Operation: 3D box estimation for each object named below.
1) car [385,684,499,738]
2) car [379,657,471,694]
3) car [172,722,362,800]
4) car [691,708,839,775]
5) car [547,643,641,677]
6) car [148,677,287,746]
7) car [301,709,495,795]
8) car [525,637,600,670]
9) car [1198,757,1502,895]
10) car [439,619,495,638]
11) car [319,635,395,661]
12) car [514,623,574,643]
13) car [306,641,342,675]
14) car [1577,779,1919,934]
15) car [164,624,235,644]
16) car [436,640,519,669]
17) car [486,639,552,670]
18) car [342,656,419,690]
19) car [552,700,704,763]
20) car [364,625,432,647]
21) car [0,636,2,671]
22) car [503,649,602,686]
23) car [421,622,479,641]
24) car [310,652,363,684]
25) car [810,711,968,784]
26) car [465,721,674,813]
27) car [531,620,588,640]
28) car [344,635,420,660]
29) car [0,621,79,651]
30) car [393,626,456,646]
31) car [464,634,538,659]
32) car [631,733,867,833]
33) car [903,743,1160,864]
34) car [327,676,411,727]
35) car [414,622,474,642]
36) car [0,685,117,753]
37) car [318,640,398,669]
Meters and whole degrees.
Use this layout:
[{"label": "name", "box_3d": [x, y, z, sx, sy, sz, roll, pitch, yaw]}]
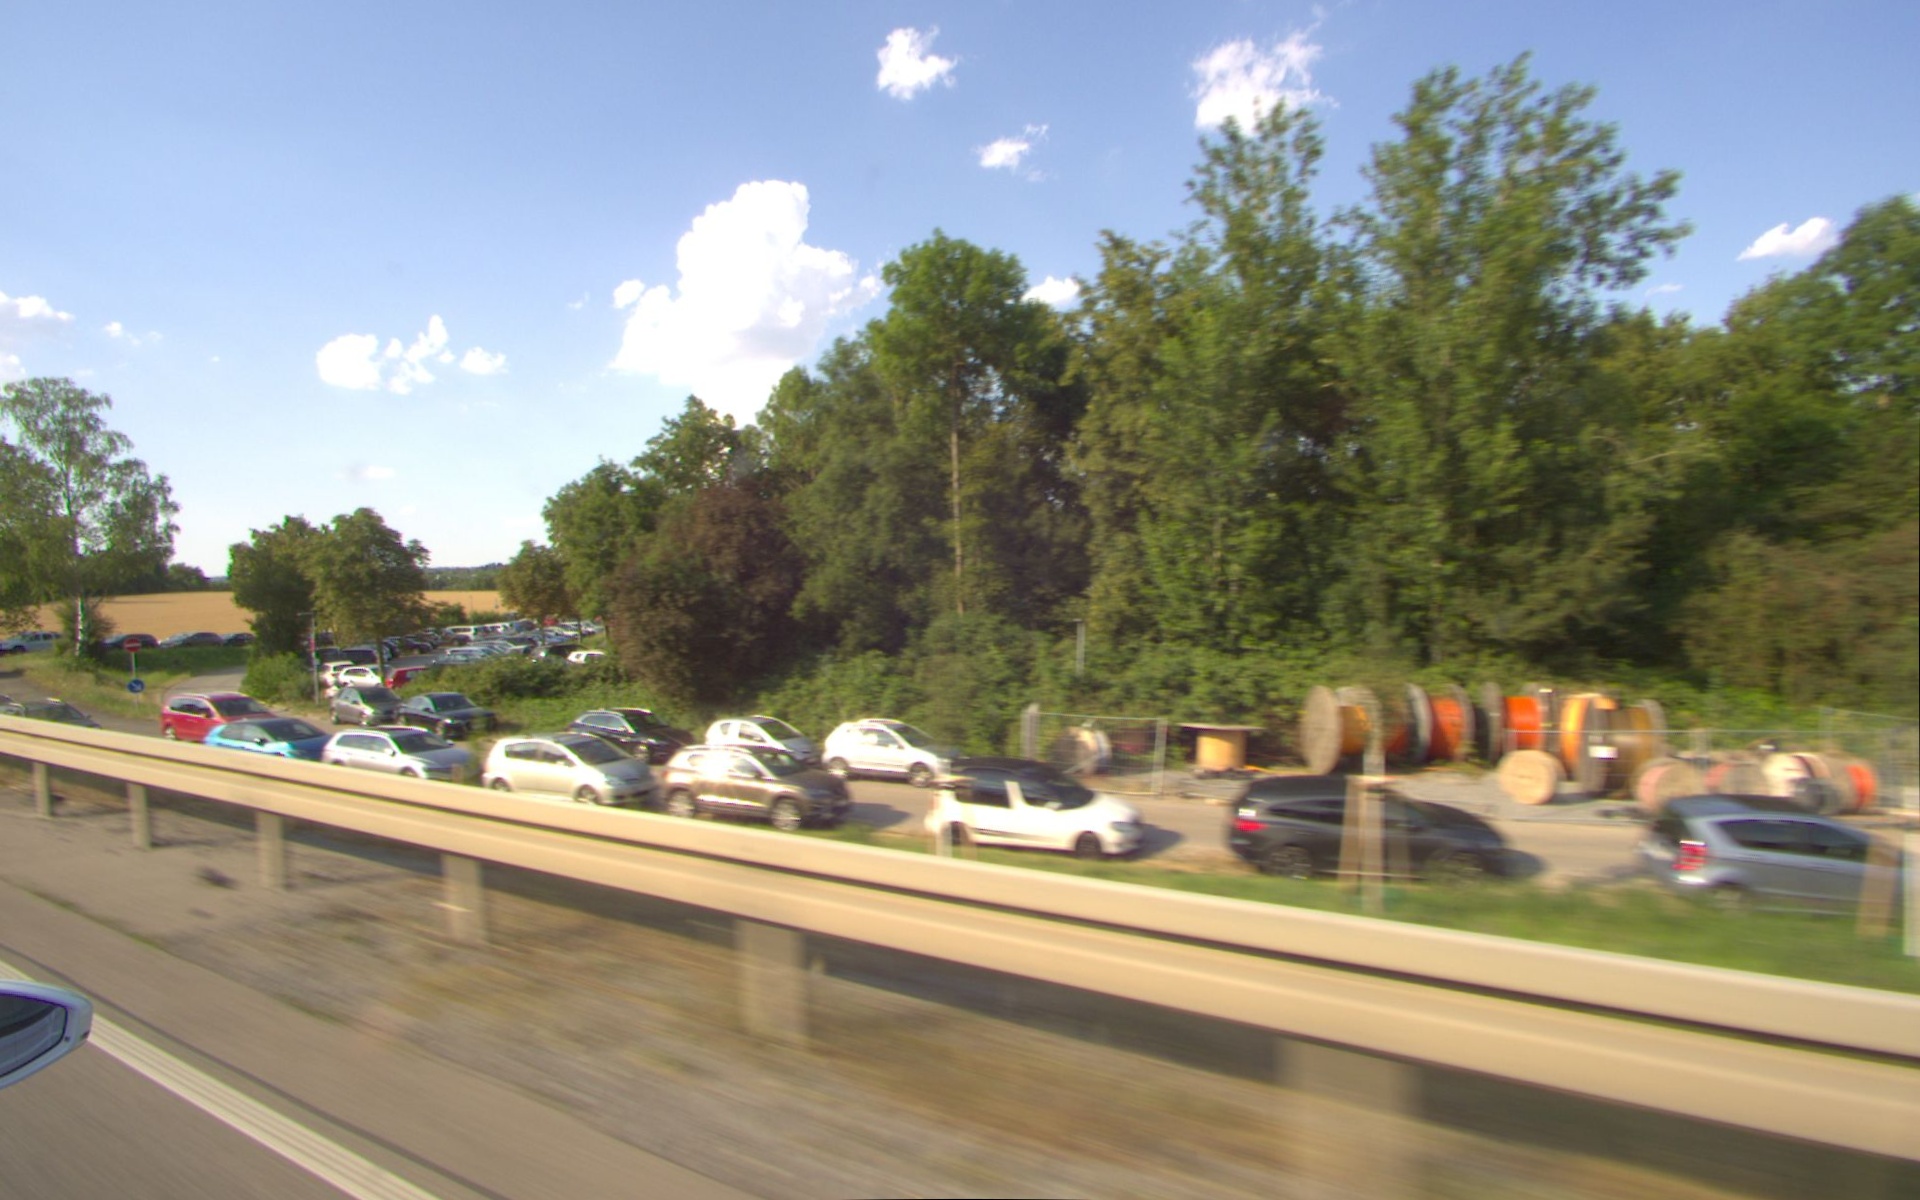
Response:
[{"label": "car", "box_3d": [-18.692, 3.954, 36.056, 4.723, 1.418, 1.694, 0, 3, 37]}, {"label": "car", "box_3d": [-26.696, 3.759, 49.997, 1.637, 1.563, 3.742, 0, 0, 44]}, {"label": "car", "box_3d": [-19.565, 4.493, 28.302, 4.696, 1.581, 1.893, 0, 4, 18]}, {"label": "car", "box_3d": [-5.552, 3.966, 28.484, 3.882, 1.418, 1.699, -1, 3, 27]}, {"label": "car", "box_3d": [-19.588, 3.197, 53.657, 4.512, 1.713, 1.801, 0, 0, 16]}, {"label": "car", "box_3d": [-25.463, 3.756, 34.314, 5.008, 1.711, 1.888, 1, 4, 30]}, {"label": "car", "box_3d": [-14.785, 3.923, 26.347, 4.701, 1.581, 1.891, 1, 4, 22]}, {"label": "car", "box_3d": [-24.078, 3.235, 60.757, 1.788, 1.776, 4.136, 0, 0, 25]}, {"label": "car", "box_3d": [6.639, 3.855, 17.544, 4.696, 1.581, 1.893, 0, 4, 18]}, {"label": "car", "box_3d": [-48.408, 2.783, 98.362, 4.509, 1.713, 1.802, 0, 0, -9]}, {"label": "car", "box_3d": [-43.103, 3.413, 71.699, 4.528, 1.713, 1.795, 0, 0, -29]}, {"label": "car", "box_3d": [-36.426, 2.882, 87.697, 4.509, 1.713, 1.802, 0, 0, -9]}, {"label": "car", "box_3d": [-39.379, 3.554, 62.059, 1.778, 1.867, 4.570, -1, 0, -32]}, {"label": "car", "box_3d": [12.328, 3.813, 15.150, 4.694, 1.581, 1.894, 0, 4, 14]}, {"label": "car", "box_3d": [-58.221, 2.623, 76.776, 1.776, 1.459, 4.592, 1, -2, 2]}, {"label": "car", "box_3d": [-30.816, 3.472, 64.022, 4.507, 1.713, 1.803, 0, 0, 6]}, {"label": "car", "box_3d": [-27.245, 3.321, 62.027, 1.623, 1.693, 4.146, 0, 0, 12]}, {"label": "car", "box_3d": [-30.364, 3.788, 52.446, 3.941, 1.563, 1.795, 0, 0, 31]}, {"label": "car", "box_3d": [-10.246, 3.998, 30.845, 4.713, 1.418, 1.697, -1, 3, 30]}, {"label": "car", "box_3d": [-46.507, 2.992, 82.898, 4.509, 1.713, 1.802, 0, 0, -9]}, {"label": "car", "box_3d": [-49.216, 2.638, 49.489, 4.719, 1.697, 1.886, -1, 0, 36]}, {"label": "car", "box_3d": [-20.758, 3.426, 51.002, 4.512, 1.713, 1.801, 0, 0, 16]}, {"label": "car", "box_3d": [-48.266, 2.969, 94.831, 4.509, 1.713, 1.802, 0, 0, -9]}, {"label": "car", "box_3d": [-35.187, 3.804, 56.456, 1.678, 1.506, 4.248, -1, 1, -45]}, {"label": "car", "box_3d": [-1.903, 3.913, 26.887, 3.880, 1.530, 1.701, -1, 1, 25]}, {"label": "car", "box_3d": [-9.383, 3.933, 24.079, 4.701, 1.580, 1.893, 1, 1, 23]}, {"label": "car", "box_3d": [-36.914, 2.761, 92.390, 4.509, 1.713, 1.802, 0, 0, -9]}, {"label": "car", "box_3d": [-42.898, 3.513, 74.347, 4.509, 1.713, 1.802, 0, 0, -9]}, {"label": "car", "box_3d": [-62.124, 2.376, 67.256, 1.777, 1.771, 4.214, 0, 1, 11]}, {"label": "car", "box_3d": [-47.205, 3.175, 88.276, 4.509, 1.713, 1.802, 0, 0, -9]}, {"label": "car", "box_3d": [-33.115, 3.357, 72.295, 4.509, 1.713, 1.802, 0, 0, -9]}, {"label": "car", "box_3d": [-4.567, 3.879, 21.720, 4.699, 1.579, 1.895, 0, -2, 21]}, {"label": "car", "box_3d": [1.426, 3.872, 19.515, 4.696, 1.581, 1.893, 0, 4, 18]}, {"label": "car", "box_3d": [-23.276, 3.953, 39.388, 4.053, 1.418, 1.691, 2, 5, 43]}, {"label": "car", "box_3d": [-47.388, 2.905, 91.961, 4.509, 1.713, 1.802, 0, 0, -9]}, {"label": "car", "box_3d": [-29.912, 3.858, 32.999, 4.713, 1.581, 1.886, 1, 4, 33]}, {"label": "car", "box_3d": [-40.456, 3.654, 67.414, 4.528, 1.713, 1.795, 0, 0, -29]}]
